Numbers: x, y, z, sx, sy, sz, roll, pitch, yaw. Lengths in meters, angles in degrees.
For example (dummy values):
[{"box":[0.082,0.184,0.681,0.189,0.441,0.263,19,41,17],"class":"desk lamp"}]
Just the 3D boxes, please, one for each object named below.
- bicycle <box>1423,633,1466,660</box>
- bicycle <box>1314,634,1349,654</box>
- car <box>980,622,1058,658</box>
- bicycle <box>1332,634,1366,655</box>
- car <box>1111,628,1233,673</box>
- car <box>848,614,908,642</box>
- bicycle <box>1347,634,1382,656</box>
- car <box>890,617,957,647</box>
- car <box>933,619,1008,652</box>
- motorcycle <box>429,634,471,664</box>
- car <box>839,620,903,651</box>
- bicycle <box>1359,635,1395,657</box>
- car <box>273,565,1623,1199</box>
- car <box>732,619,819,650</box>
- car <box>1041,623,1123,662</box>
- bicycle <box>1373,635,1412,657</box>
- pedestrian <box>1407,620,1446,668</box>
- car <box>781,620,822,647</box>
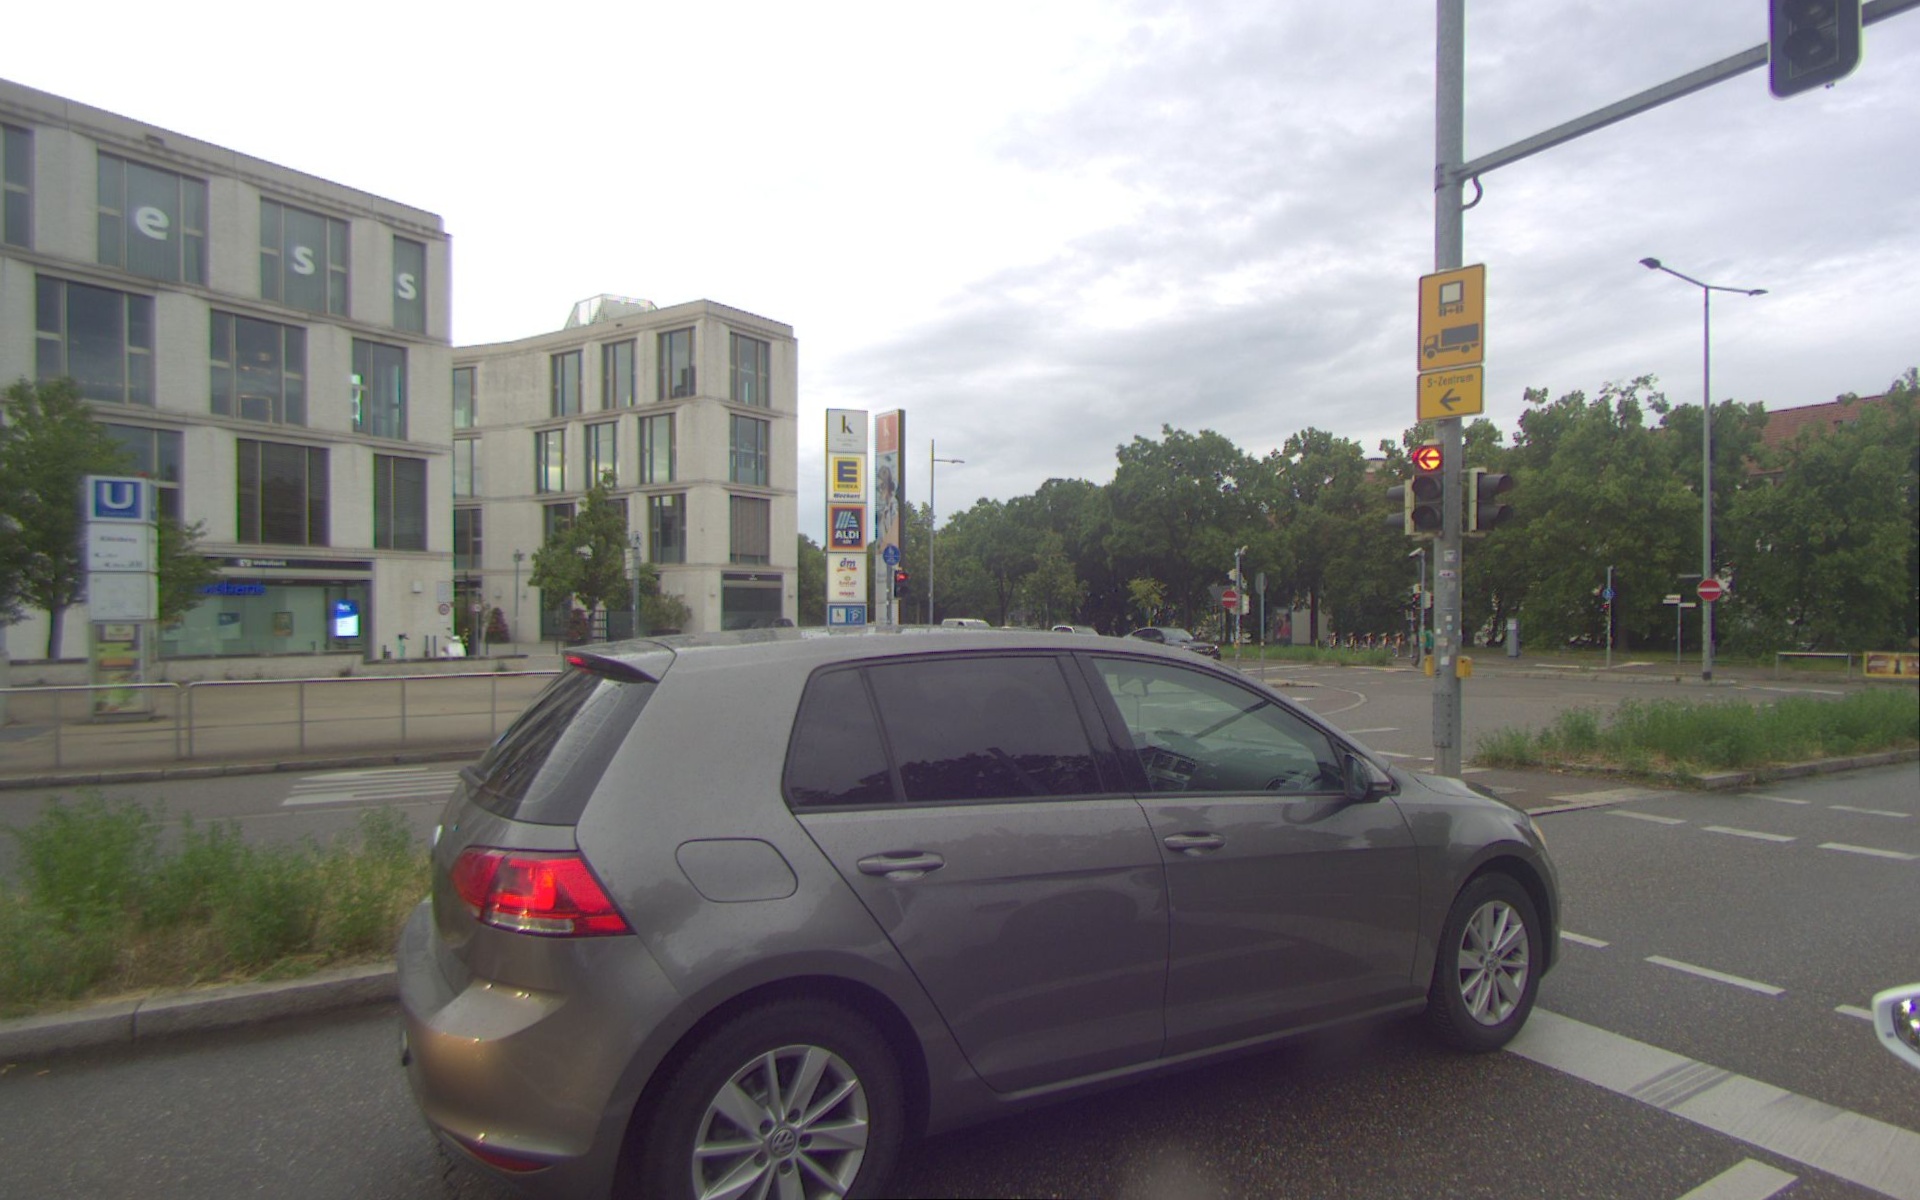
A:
[{"box":[23.752,2.287,49.256,1.959,1.266,0.986,2,0,-30],"class":"bicycle"},{"box":[20.261,2.403,54.758,1.959,1.085,0.649,2,0,-30],"class":"bicycle"},{"box":[2.922,1.994,50.928,1.976,1.615,4.185,2,0,-29],"class":"car"},{"box":[20.932,2.389,54.029,1.959,1.085,0.649,2,0,-30],"class":"bicycle"},{"box":[8.388,1.965,40.235,1.976,1.520,5.001,2,0,-29],"class":"car"},{"box":[-5.465,1.814,66.107,1.977,1.615,4.852,2,0,-31],"class":"car"},{"box":[21.365,2.378,53.028,1.959,1.085,0.649,2,0,-30],"class":"bicycle"},{"box":[-2.263,1.885,60.388,1.976,1.615,4.855,2,0,-29],"class":"car"},{"box":[0.525,1.944,55.400,1.976,1.615,4.855,2,0,-29],"class":"car"},{"box":[-14.166,1.351,27.899,1.081,0.750,0.522,2,0,29],"class":"motorcycle"},{"box":[-5.335,2.110,59.693,1.976,1.615,4.855,2,0,-29],"class":"car"},{"box":[21.666,2.395,52.168,1.959,1.085,0.649,2,0,-30],"class":"bicycle"},{"box":[0.264,0.753,3.585,4.325,1.501,1.807,2,-1,-30],"class":"car"},{"box":[-9.193,1.715,50.313,1.968,1.483,3.985,0,-2,37],"class":"car"},{"box":[5.550,1.908,46.021,1.976,1.615,3.536,2,0,-30],"class":"car"},{"box":[22.236,2.361,51.644,1.959,1.085,0.798,2,0,-30],"class":"bicycle"},{"box":[17.647,1.665,37.981,0.934,1.750,0.919,2,0,-27],"class":"pedestrian"},{"box":[-12.718,2.662,80.613,1.976,2.040,3.969,1,-1,-29],"class":"car"}]
